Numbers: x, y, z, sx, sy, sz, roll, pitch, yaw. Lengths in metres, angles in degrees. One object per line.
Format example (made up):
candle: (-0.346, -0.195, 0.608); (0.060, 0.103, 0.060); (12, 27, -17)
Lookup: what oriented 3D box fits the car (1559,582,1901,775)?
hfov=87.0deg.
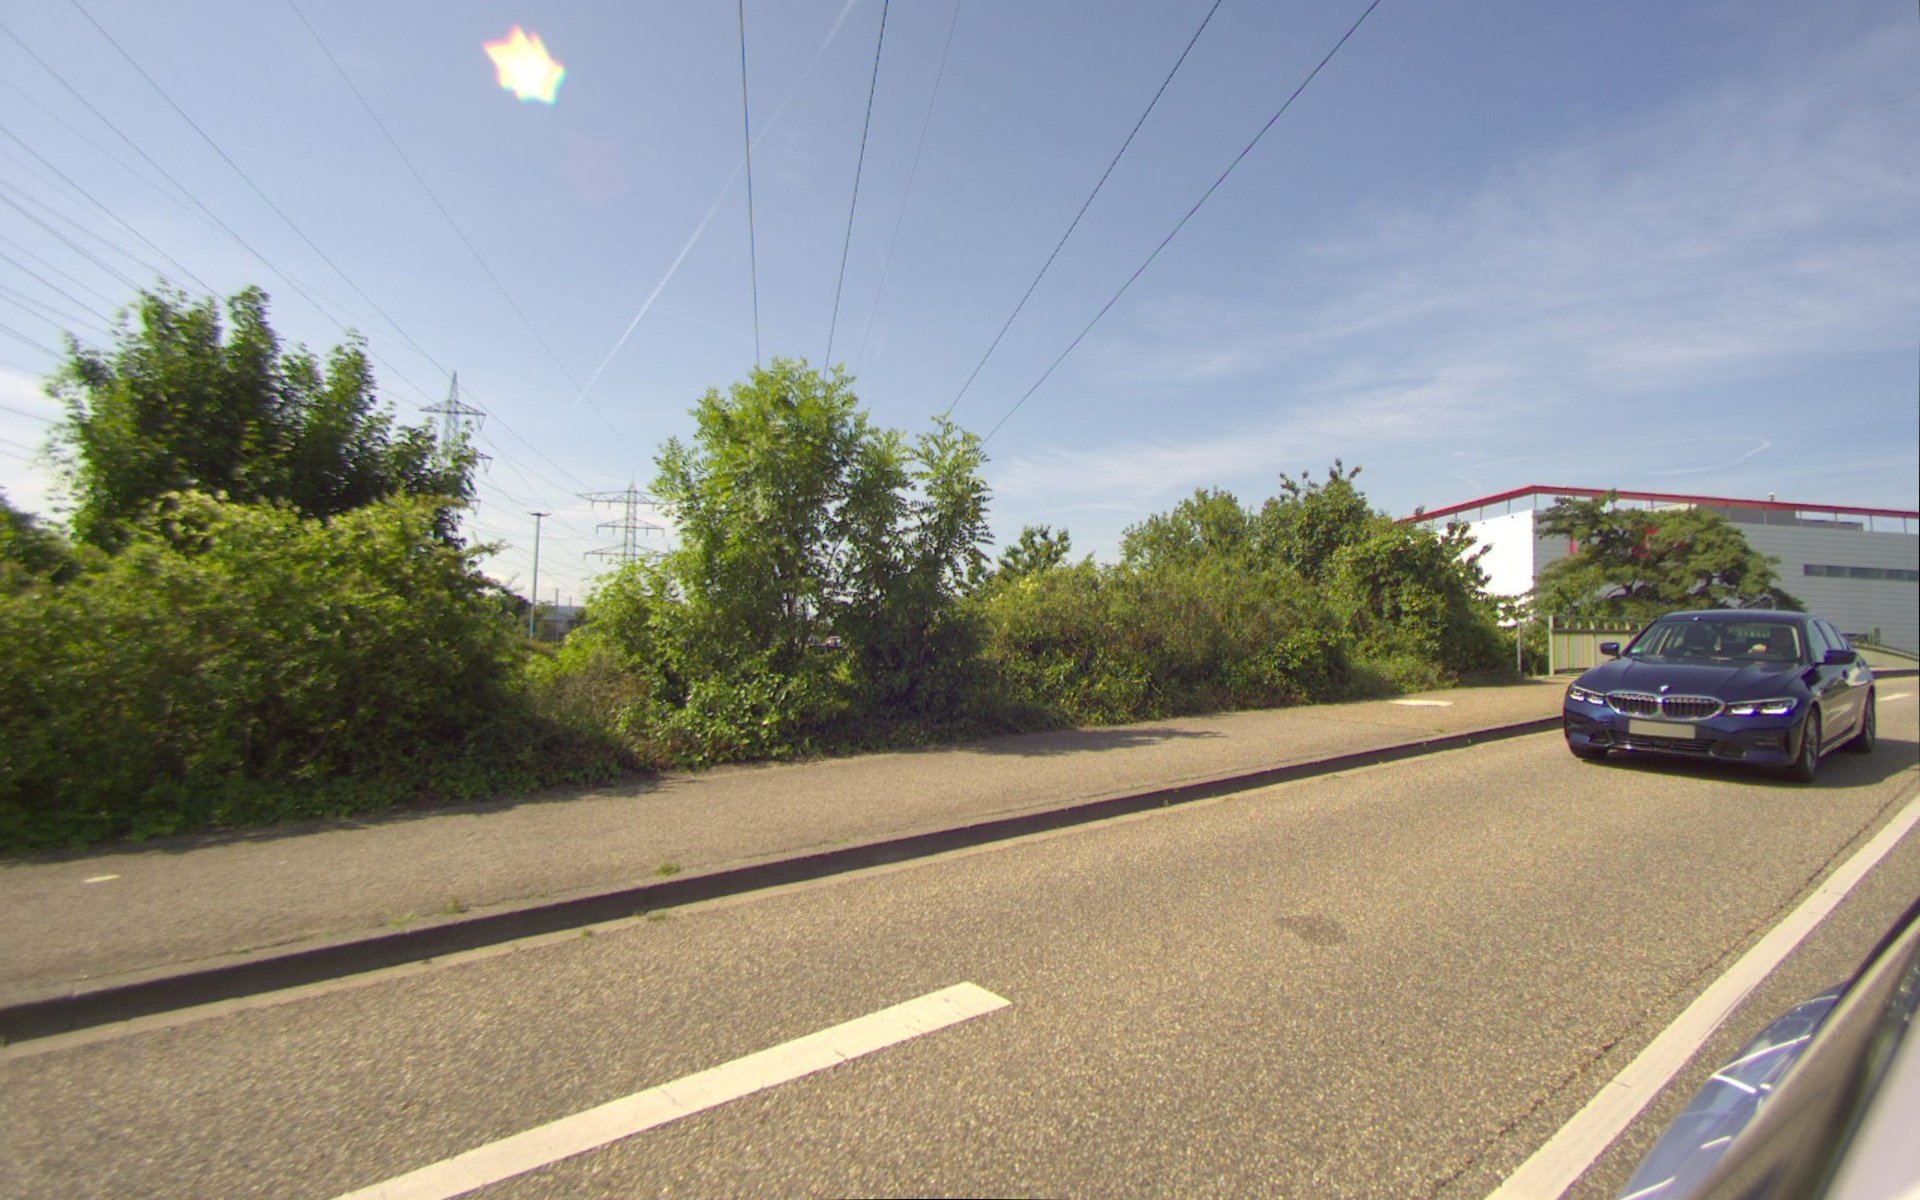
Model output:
car: (7.754, 0.747, 10.036); (4.439, 1.503, 1.790); (4, -4, -41)
